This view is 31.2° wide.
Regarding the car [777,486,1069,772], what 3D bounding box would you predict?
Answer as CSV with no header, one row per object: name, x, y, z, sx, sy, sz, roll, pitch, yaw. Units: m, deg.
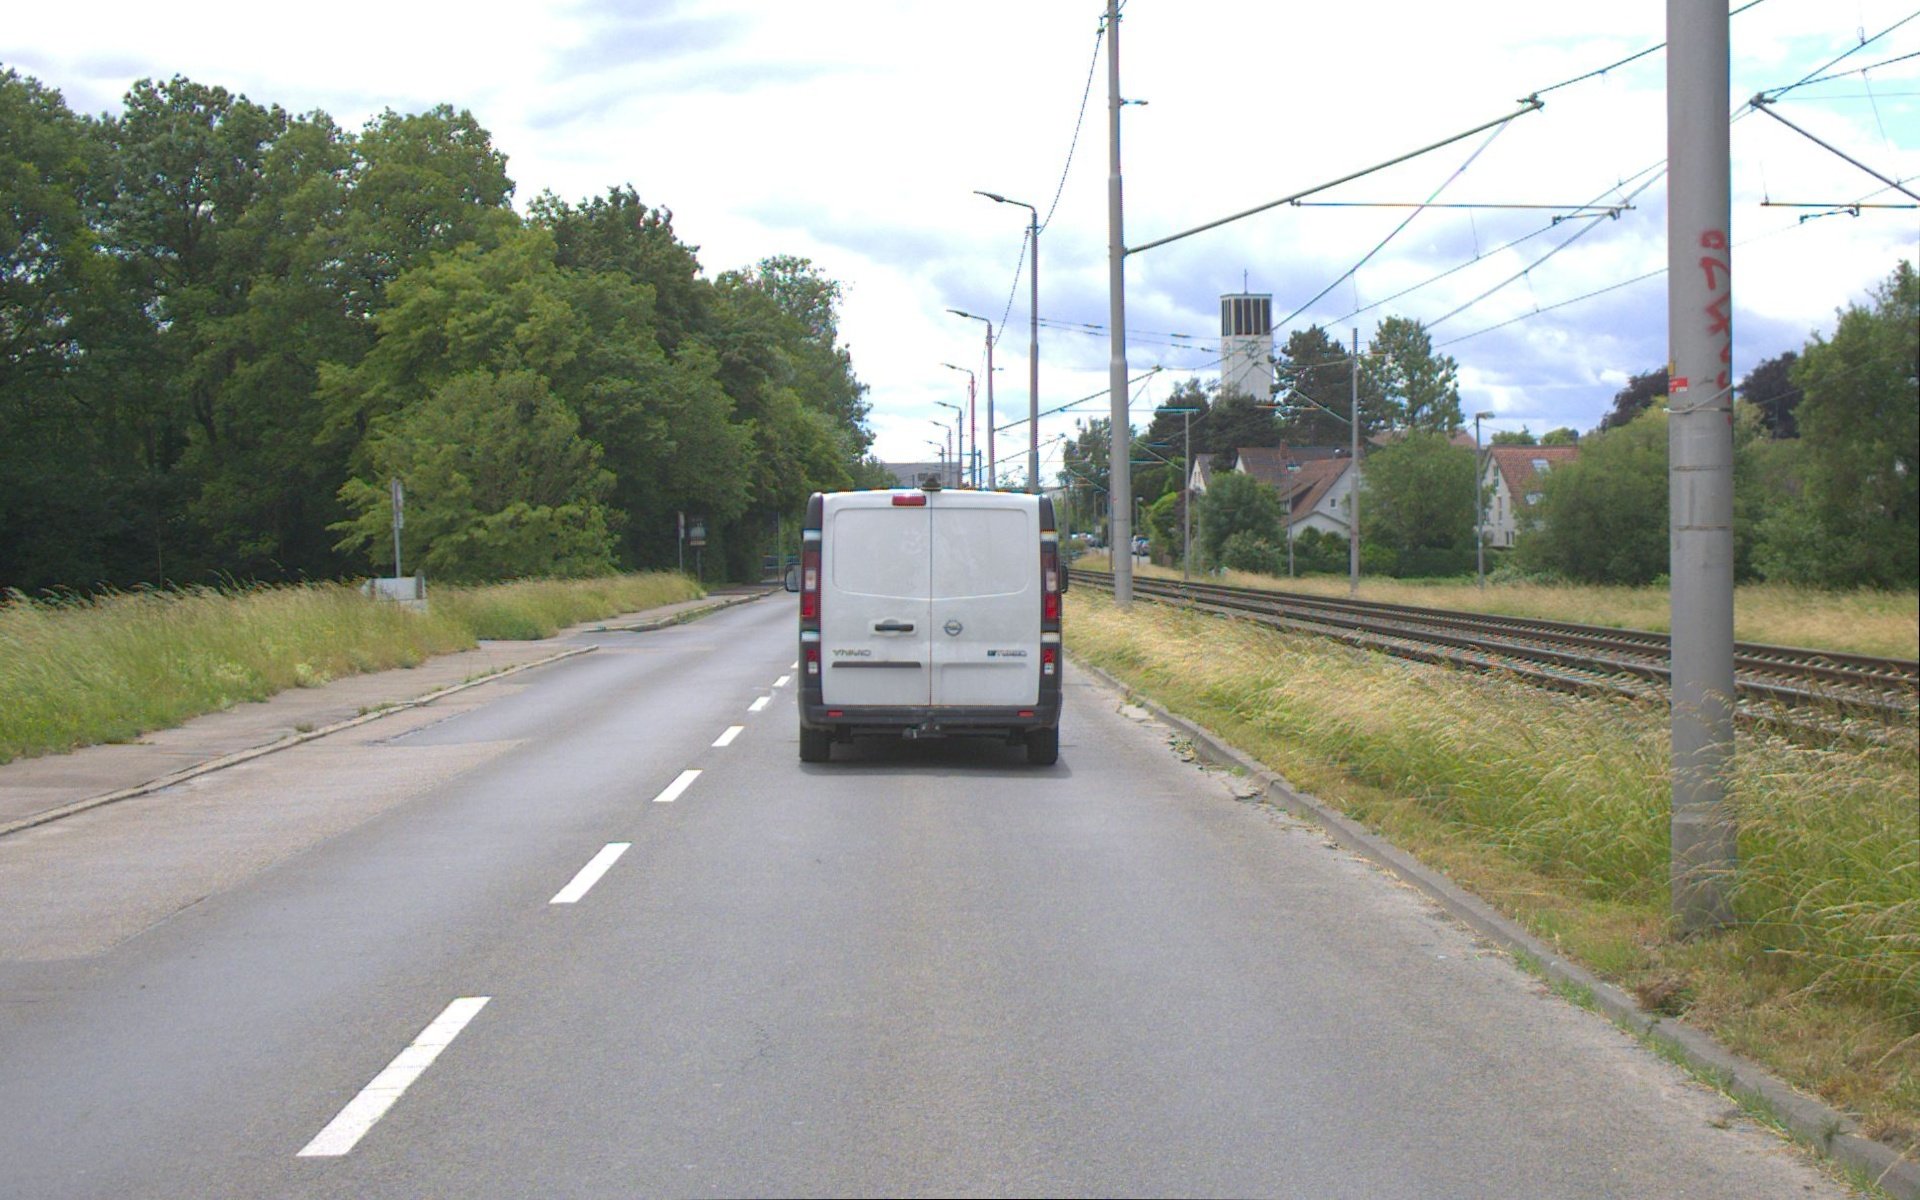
car,-0.318,0.178,25.478,1.993,1.950,4.000,0,1,-2
